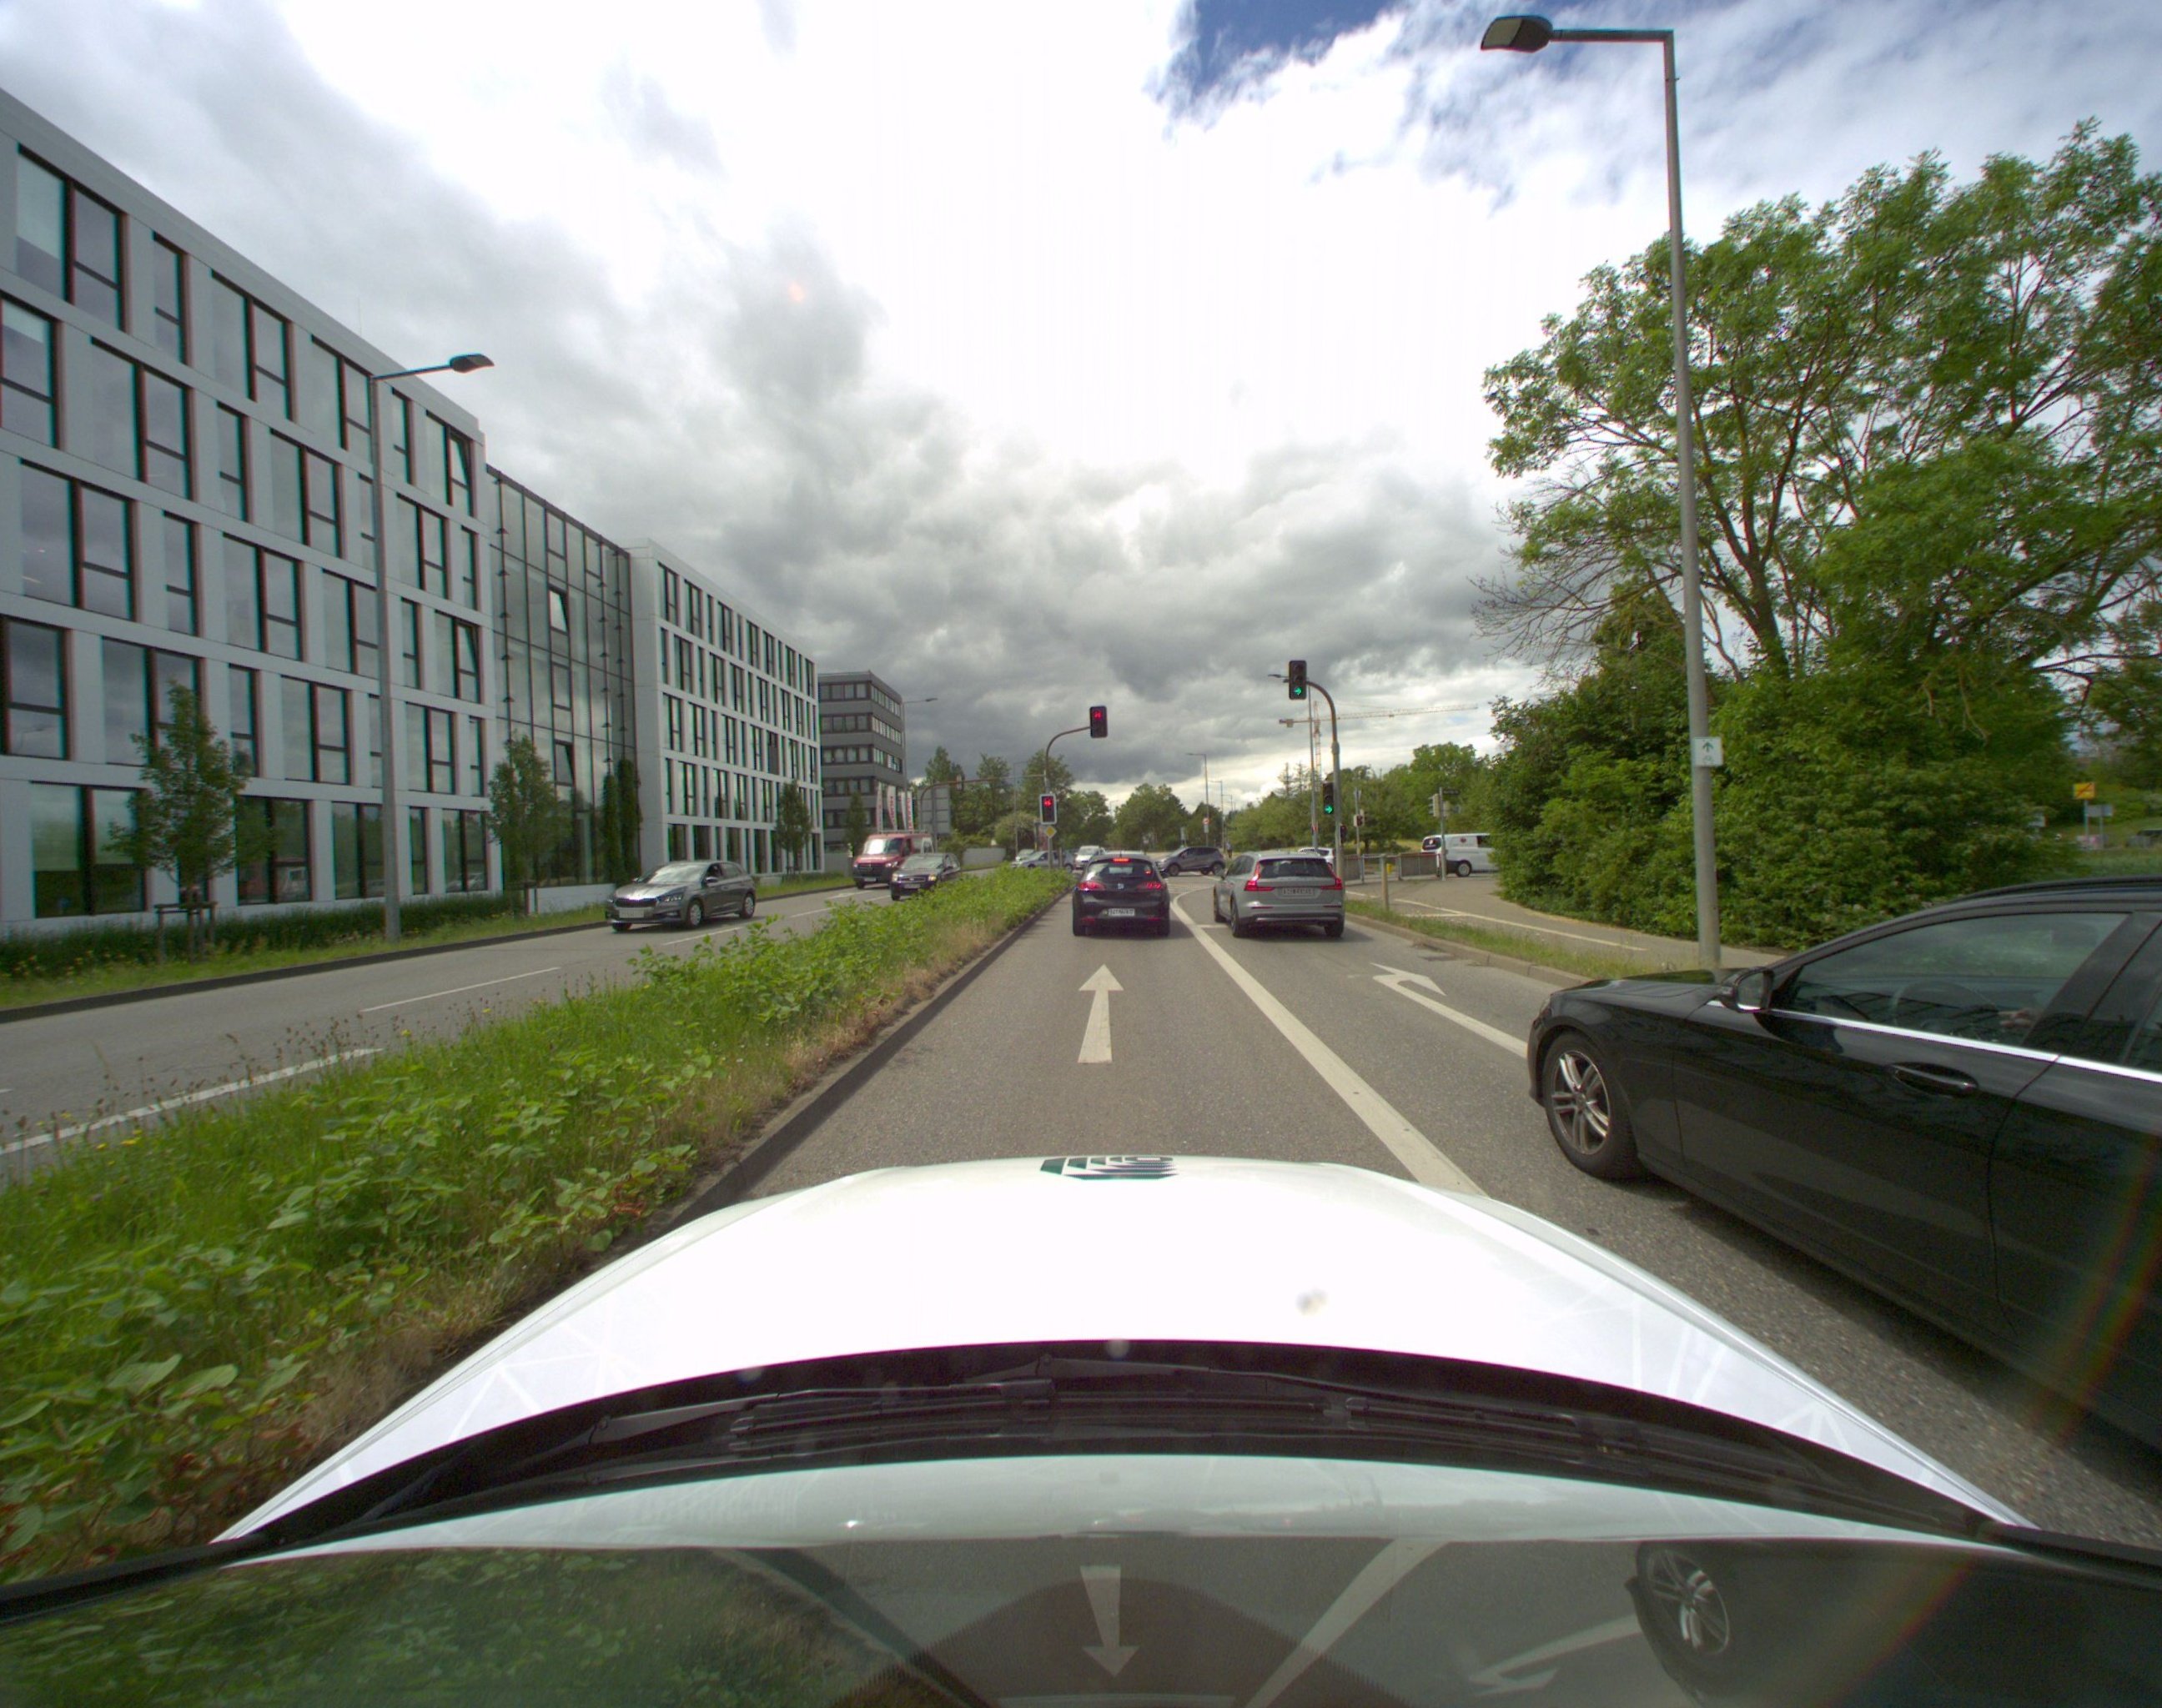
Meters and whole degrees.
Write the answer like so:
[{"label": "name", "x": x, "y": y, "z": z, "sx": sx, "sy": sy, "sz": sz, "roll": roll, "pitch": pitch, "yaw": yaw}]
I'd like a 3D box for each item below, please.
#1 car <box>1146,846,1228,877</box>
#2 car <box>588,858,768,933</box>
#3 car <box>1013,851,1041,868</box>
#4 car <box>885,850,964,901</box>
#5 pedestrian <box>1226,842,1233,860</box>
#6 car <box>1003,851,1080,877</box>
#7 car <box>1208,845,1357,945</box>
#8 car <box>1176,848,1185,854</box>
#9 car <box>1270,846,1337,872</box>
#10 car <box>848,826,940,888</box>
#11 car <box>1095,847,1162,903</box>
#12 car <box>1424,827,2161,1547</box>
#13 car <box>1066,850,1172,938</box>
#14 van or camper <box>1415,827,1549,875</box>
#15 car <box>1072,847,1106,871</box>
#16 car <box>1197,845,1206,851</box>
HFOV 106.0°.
[{"label": "car", "x": 5.771, "y": 0.374, "z": 44.499, "sx": 3.994, "sy": 1.516, "sz": 1.931, "roll": -2, "pitch": 0, "yaw": -15}, {"label": "car", "x": -8.867, "y": 0.844, "z": 18.344, "sx": 1.925, "sy": 1.398, "sz": 4.002, "roll": -1, "pitch": 0, "yaw": 2}, {"label": "car", "x": -4.646, "y": 0.451, "z": 70.931, "sx": 1.986, "sy": 1.352, "sz": 4.003, "roll": -1, "pitch": 0, "yaw": 2}, {"label": "car", "x": -5.089, "y": 0.653, "z": 27.021, "sx": 1.672, "sy": 1.482, "sz": 4.002, "roll": -1, "pitch": 0, "yaw": 2}, {"label": "pedestrian", "x": 14.316, "y": -0.259, "z": 78.353, "sx": 0.556, "sy": 1.726, "sz": 0.588, "roll": -1, "pitch": 0, "yaw": 3}, {"label": "car", "x": -2.309, "y": 0.590, "z": 47.867, "sx": 4.014, "sy": 1.354, "sz": 1.980, "roll": -2, "pitch": 1, "yaw": -32}, {"label": "car", "x": 3.543, "y": 0.635, "z": 15.164, "sx": 1.855, "sy": 1.518, "sz": 4.450, "roll": -2, "pitch": 0, "yaw": 3}, {"label": "car", "x": 23.759, "y": -0.806, "z": 194.620, "sx": 1.981, "sy": 1.352, "sz": 4.012, "roll": -1, "pitch": 0, "yaw": 10}, {"label": "car", "x": 14.140, "y": 0.319, "z": 51.747, "sx": 3.954, "sy": 1.530, "sz": 2.010, "roll": -1, "pitch": 0, "yaw": 18}, {"label": "car", "x": -8.008, "y": 0.100, "z": 35.410, "sx": 1.982, "sy": 2.412, "sz": 5.254, "roll": -2, "pitch": 0, "yaw": 9}, {"label": "car", "x": 1.368, "y": 0.586, "z": 24.693, "sx": 1.767, "sy": 1.491, "sz": 3.582, "roll": -2, "pitch": 0, "yaw": 0}, {"label": "car", "x": 3.120, "y": 0.661, "z": 2.491, "sx": 1.867, "sy": 1.440, "sz": 5.198, "roll": -2, "pitch": 0, "yaw": -1}, {"label": "car", "x": 0.723, "y": 0.669, "z": 15.532, "sx": 1.766, "sy": 1.451, "sz": 3.584, "roll": -1, "pitch": 0, "yaw": 2}, {"label": "van or camper", "x": 17.337, "y": -0.118, "z": 35.334, "sx": 4.922, "sy": 1.860, "sz": 1.995, "roll": -2, "pitch": 0, "yaw": -7}, {"label": "car", "x": 0.619, "y": 0.334, "z": 57.957, "sx": 1.984, "sy": 1.596, "sz": 4.007, "roll": -1, "pitch": 0, "yaw": 6}, {"label": "car", "x": 28.636, "y": -1.529, "z": 193.390, "sx": 1.981, "sy": 1.352, "sz": 4.012, "roll": -1, "pitch": 0, "yaw": 10}]
